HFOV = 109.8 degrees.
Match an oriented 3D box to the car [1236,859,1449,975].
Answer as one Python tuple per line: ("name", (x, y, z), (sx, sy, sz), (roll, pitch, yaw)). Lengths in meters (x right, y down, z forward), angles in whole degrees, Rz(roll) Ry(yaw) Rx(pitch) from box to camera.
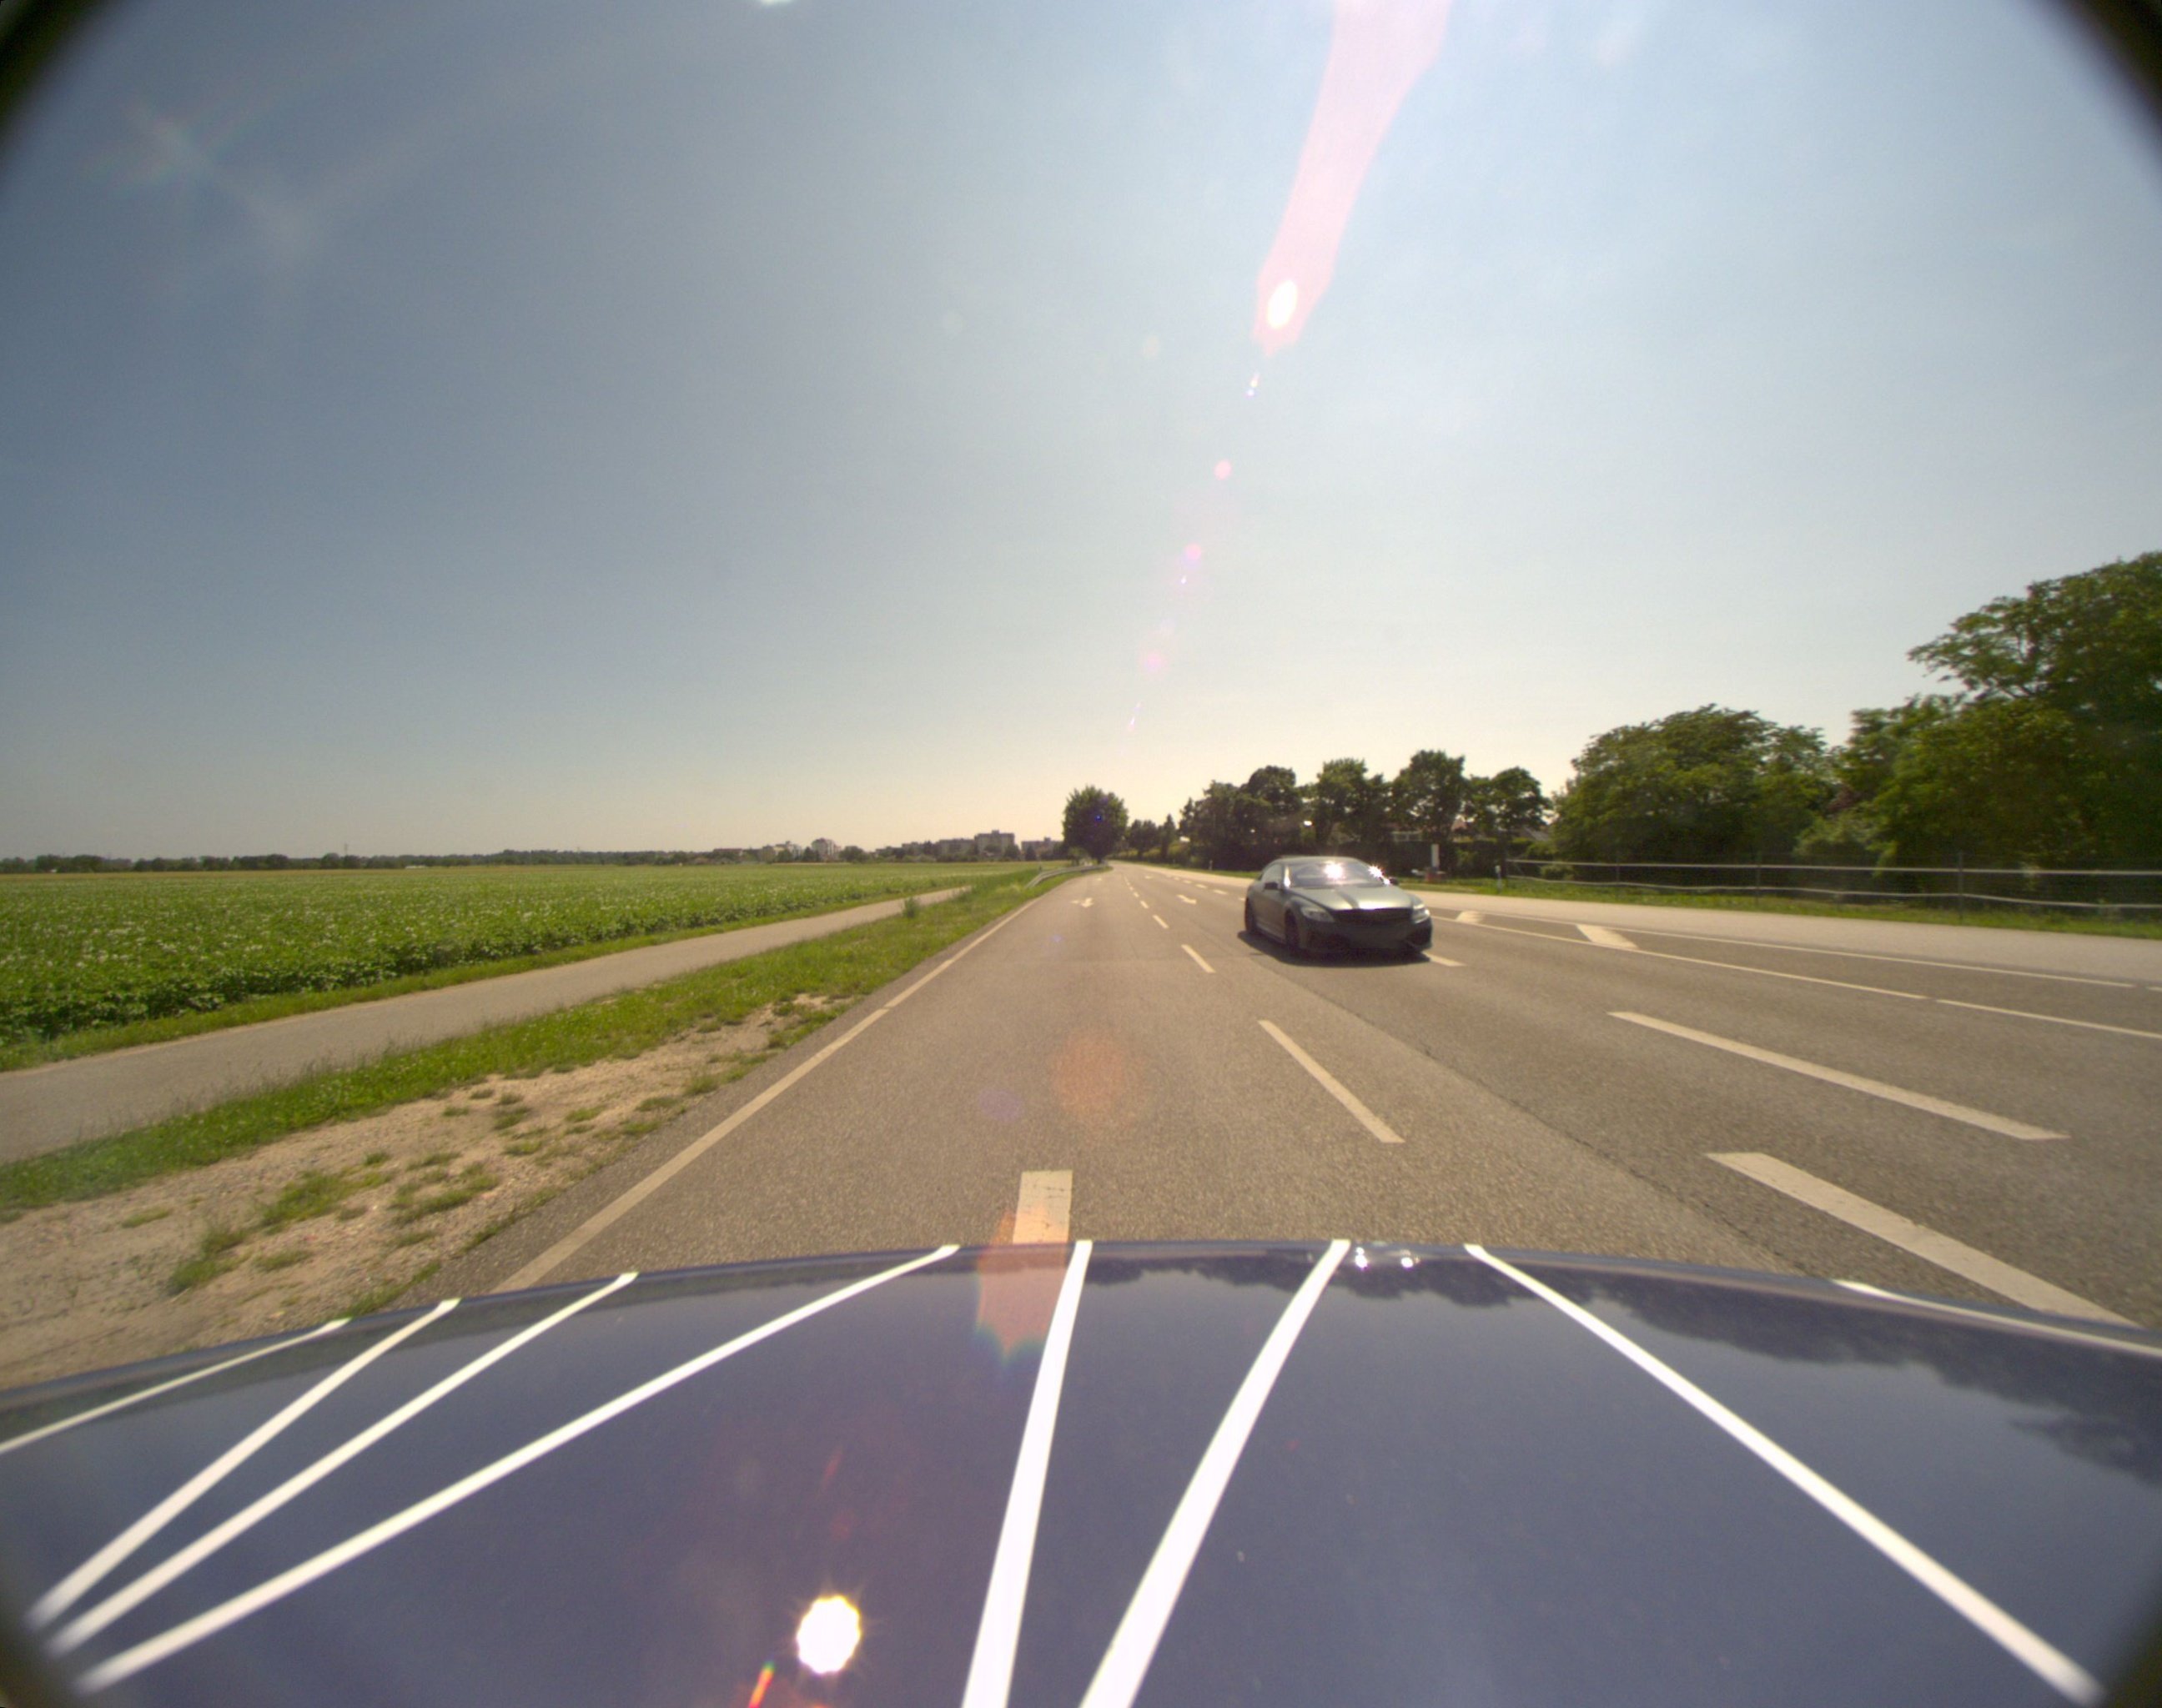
("car", (3.924, 0.838, 12.392), (1.815, 1.441, 4.877), (-2, 0, 1))
